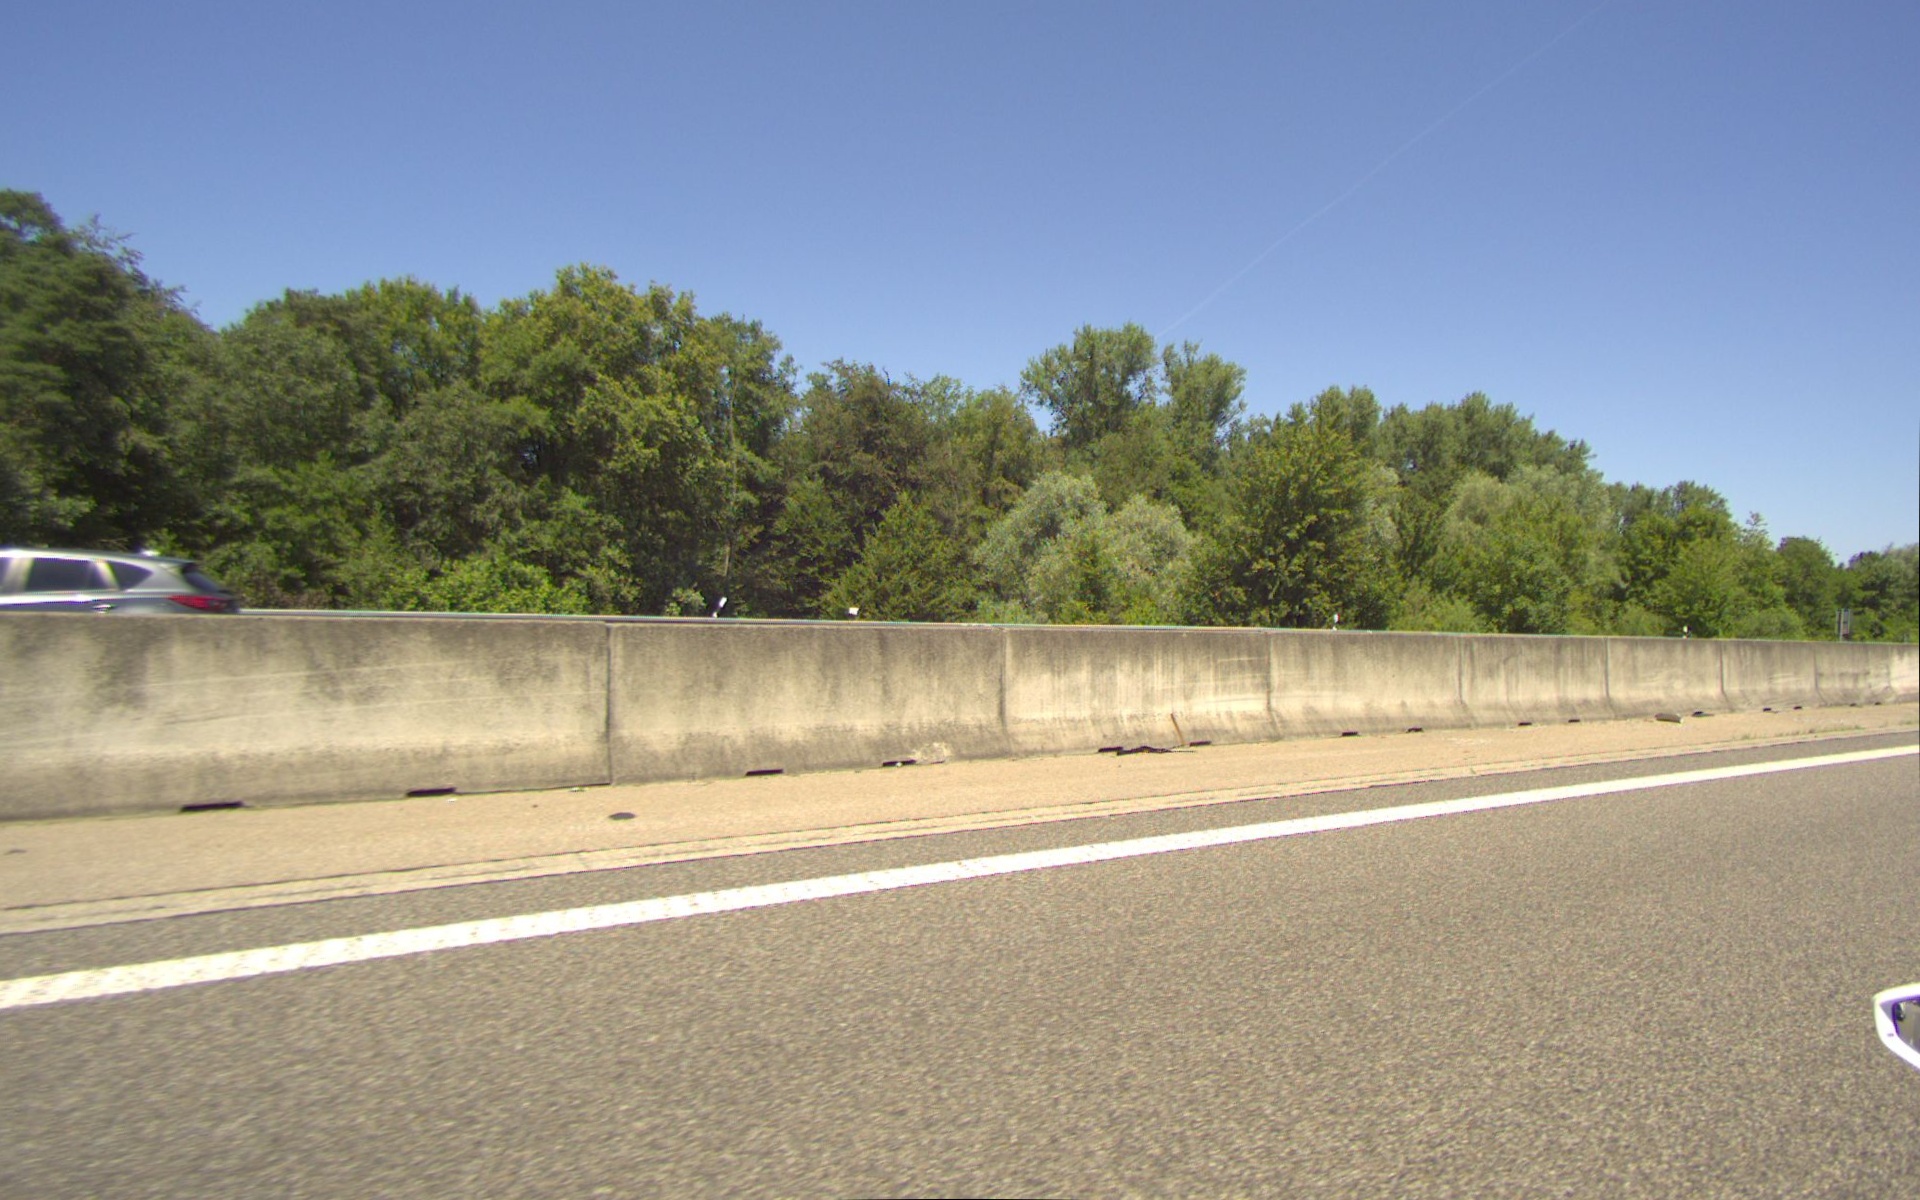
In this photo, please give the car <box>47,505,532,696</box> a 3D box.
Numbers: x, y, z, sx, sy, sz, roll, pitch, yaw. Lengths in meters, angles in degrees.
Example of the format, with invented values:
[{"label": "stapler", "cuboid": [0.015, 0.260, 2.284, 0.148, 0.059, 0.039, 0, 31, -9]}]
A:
[{"label": "car", "cuboid": [-8.212, 0.054, 12.837, 4.771, 2.040, 1.982, 2, 0, -32]}]
